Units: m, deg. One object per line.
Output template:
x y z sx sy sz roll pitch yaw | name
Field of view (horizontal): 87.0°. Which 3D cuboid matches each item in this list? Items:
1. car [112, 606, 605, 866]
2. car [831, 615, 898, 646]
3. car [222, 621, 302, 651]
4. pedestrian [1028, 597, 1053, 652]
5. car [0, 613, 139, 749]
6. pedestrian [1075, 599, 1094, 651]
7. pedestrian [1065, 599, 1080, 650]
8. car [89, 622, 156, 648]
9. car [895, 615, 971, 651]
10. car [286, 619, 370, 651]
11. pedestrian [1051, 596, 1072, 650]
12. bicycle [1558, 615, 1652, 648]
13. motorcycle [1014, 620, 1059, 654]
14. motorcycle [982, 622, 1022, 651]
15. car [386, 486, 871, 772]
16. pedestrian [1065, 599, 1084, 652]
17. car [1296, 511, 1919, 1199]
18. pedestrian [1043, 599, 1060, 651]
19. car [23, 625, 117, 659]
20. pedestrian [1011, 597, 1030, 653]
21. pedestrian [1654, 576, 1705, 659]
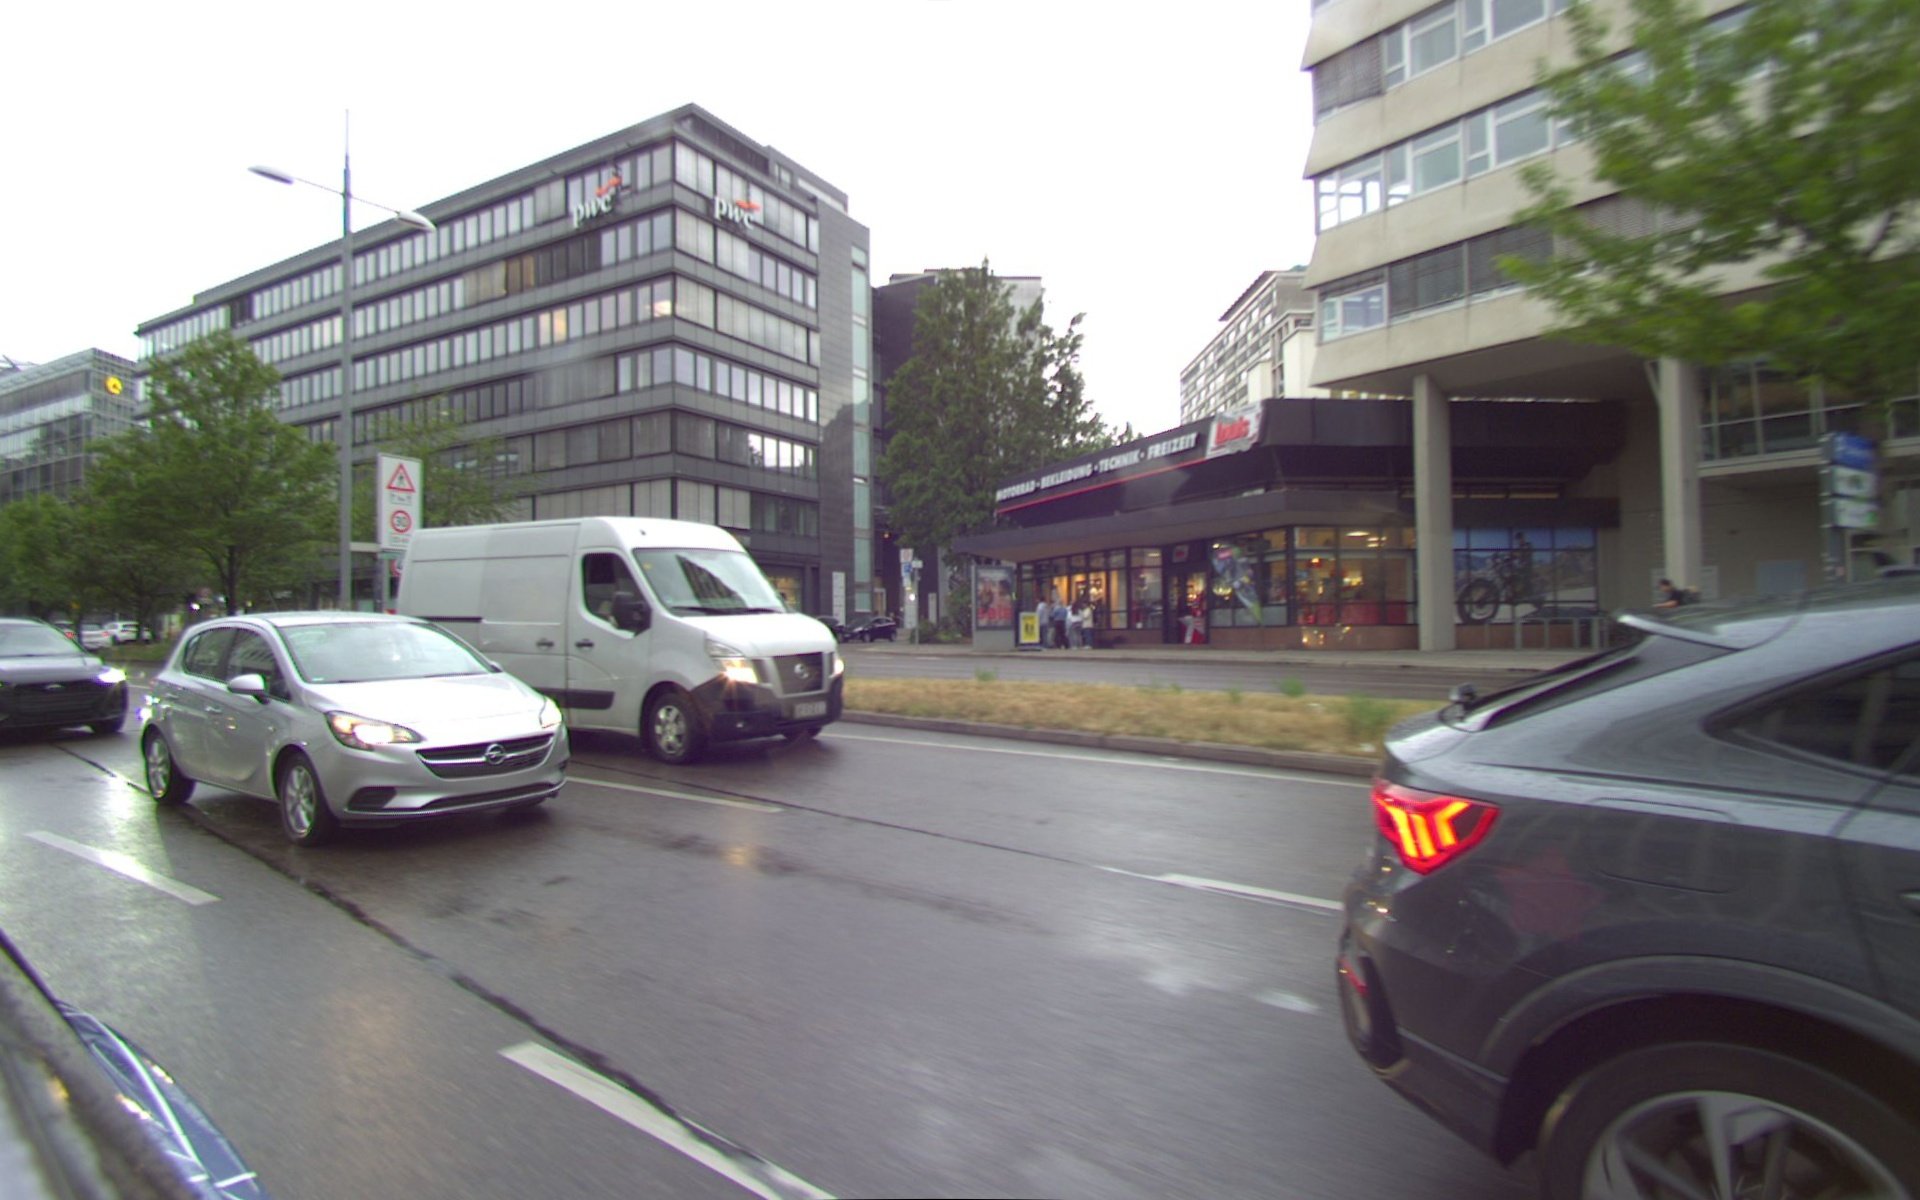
-4.546 0.812 7.487 3.864 1.446 1.635 -1 0 34 | car
-5.264 1.691 56.100 1.843 1.596 3.724 -1 -1 31 | car
-37.366 1.897 54.146 4.091 1.518 1.980 -1 -1 30 | car
2.616 0.795 32.944 0.528 1.784 0.551 0 -1 -36 | pedestrian
-11.934 0.927 12.278 4.079 1.446 1.759 -1 0 31 | car
4.307 0.852 34.946 0.422 1.784 0.471 0 -1 -36 | pedestrian
3.987 0.852 35.848 0.323 1.784 0.358 0 -1 -36 | pedestrian
-51.670 2.163 62.429 3.984 1.518 1.980 -1 -1 30 | car
-1.239 1.519 47.653 1.843 1.596 3.724 -1 -1 31 | car
-31.800 1.736 50.889 3.984 1.518 1.980 -1 -1 30 | car
3.401 0.777 34.004 0.547 1.784 0.405 0 -1 -36 | pedestrian
18.010 0.867 28.279 2.186 0.866 0.454 0 0 35 | bicycle
2.921 1.399 38.634 1.644 1.242 0.360 -1 -1 -5 | motorcycle
1.729 1.498 41.578 1.598 1.153 0.361 -1 -1 -14 | motorcycle
-3.743 0.295 10.969 5.462 2.459 1.932 -1 0 32 | car
3.912 0.853 34.547 0.422 1.784 0.471 0 -1 -36 | pedestrian
2.866 0.602 1.371 4.268 1.533 1.631 -1 0 40 | car
3.157 0.867 34.975 0.323 1.784 0.438 0 -1 -38 | pedestrian
-39.619 1.859 45.035 3.978 1.383 1.736 -1 -1 26 | car
1.951 0.799 32.669 0.356 1.784 0.463 0 -1 -36 | pedestrian
15.006 0.362 21.102 0.763 1.696 0.670 -2 -1 41 | pedestrian
